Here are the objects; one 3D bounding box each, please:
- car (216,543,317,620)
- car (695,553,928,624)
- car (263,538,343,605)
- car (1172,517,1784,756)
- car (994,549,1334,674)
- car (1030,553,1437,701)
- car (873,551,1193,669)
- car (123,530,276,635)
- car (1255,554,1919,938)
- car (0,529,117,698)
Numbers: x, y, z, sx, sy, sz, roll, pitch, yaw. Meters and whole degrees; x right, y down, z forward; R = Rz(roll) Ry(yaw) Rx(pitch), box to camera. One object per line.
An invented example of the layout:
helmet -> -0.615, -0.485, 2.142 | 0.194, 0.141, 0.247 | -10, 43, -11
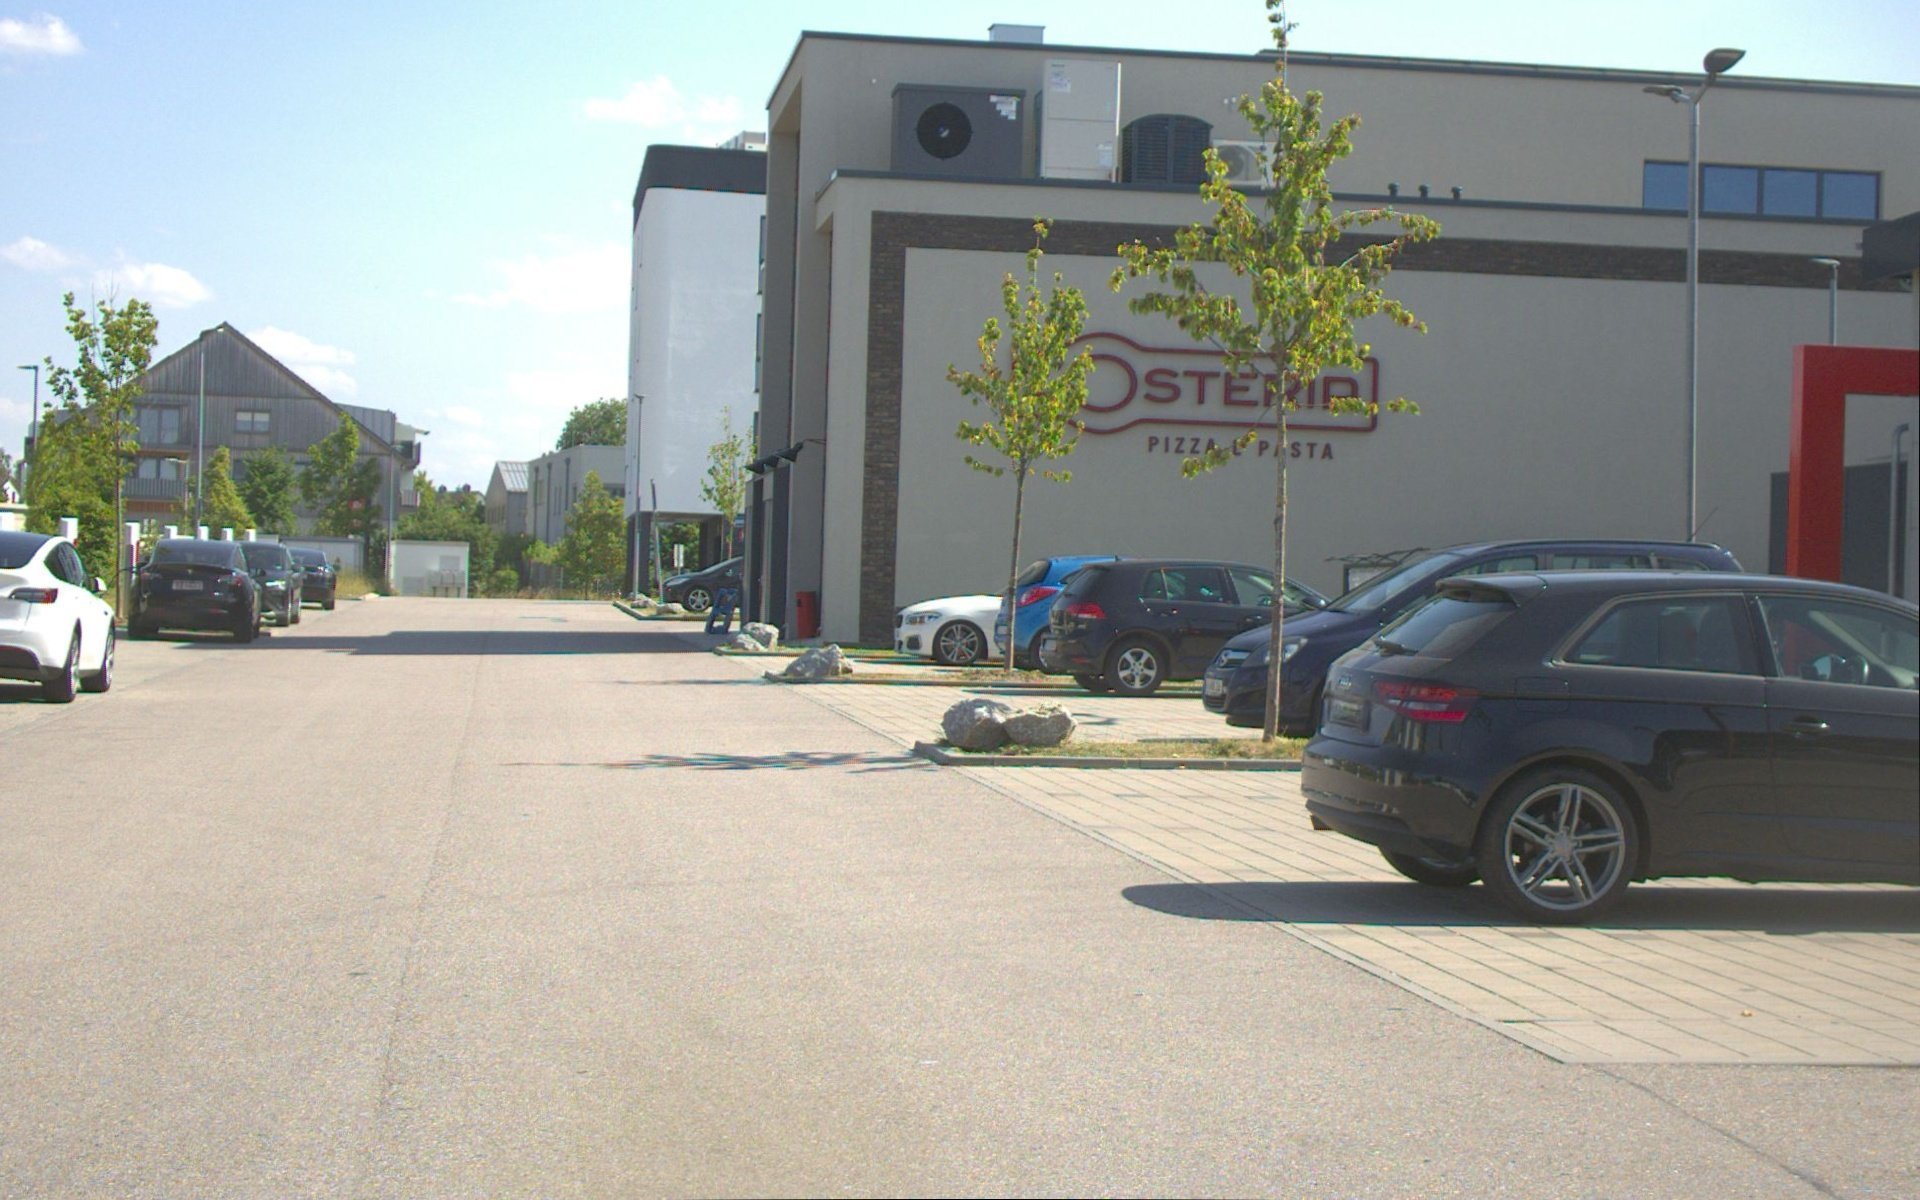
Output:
car -> -13.550, -0.384, 67.293 | 1.742, 1.382, 4.001 | 2, 1, -9
car -> -2.710, -0.223, 62.257 | 3.986, 1.152, 2.001 | 1, 1, -9
car -> -16.047, -0.716, 84.120 | 1.742, 1.563, 4.001 | 2, 1, -9
car -> 4.010, 0.276, 26.837 | 4.368, 1.679, 1.642 | 2, 1, -12
car -> 2.568, 0.138, 43.679 | 3.986, 1.415, 1.651 | 2, 1, -11
car -> 2.892, 0.277, 36.713 | 3.986, 1.415, 1.651 | 2, 1, -11
car -> 0.958, 0.123, 46.186 | 3.986, 1.415, 1.651 | 2, 1, -11
car -> -12.194, -0.305, 55.319 | 1.944, 1.563, 4.001 | 2, 1, -6
car -> 3.518, 0.606, 14.504 | 4.199, 1.436, 1.699 | 2, 1, -8
car -> -9.602, 0.073, 34.205 | 1.944, 1.563, 4.001 | 2, 1, -8
